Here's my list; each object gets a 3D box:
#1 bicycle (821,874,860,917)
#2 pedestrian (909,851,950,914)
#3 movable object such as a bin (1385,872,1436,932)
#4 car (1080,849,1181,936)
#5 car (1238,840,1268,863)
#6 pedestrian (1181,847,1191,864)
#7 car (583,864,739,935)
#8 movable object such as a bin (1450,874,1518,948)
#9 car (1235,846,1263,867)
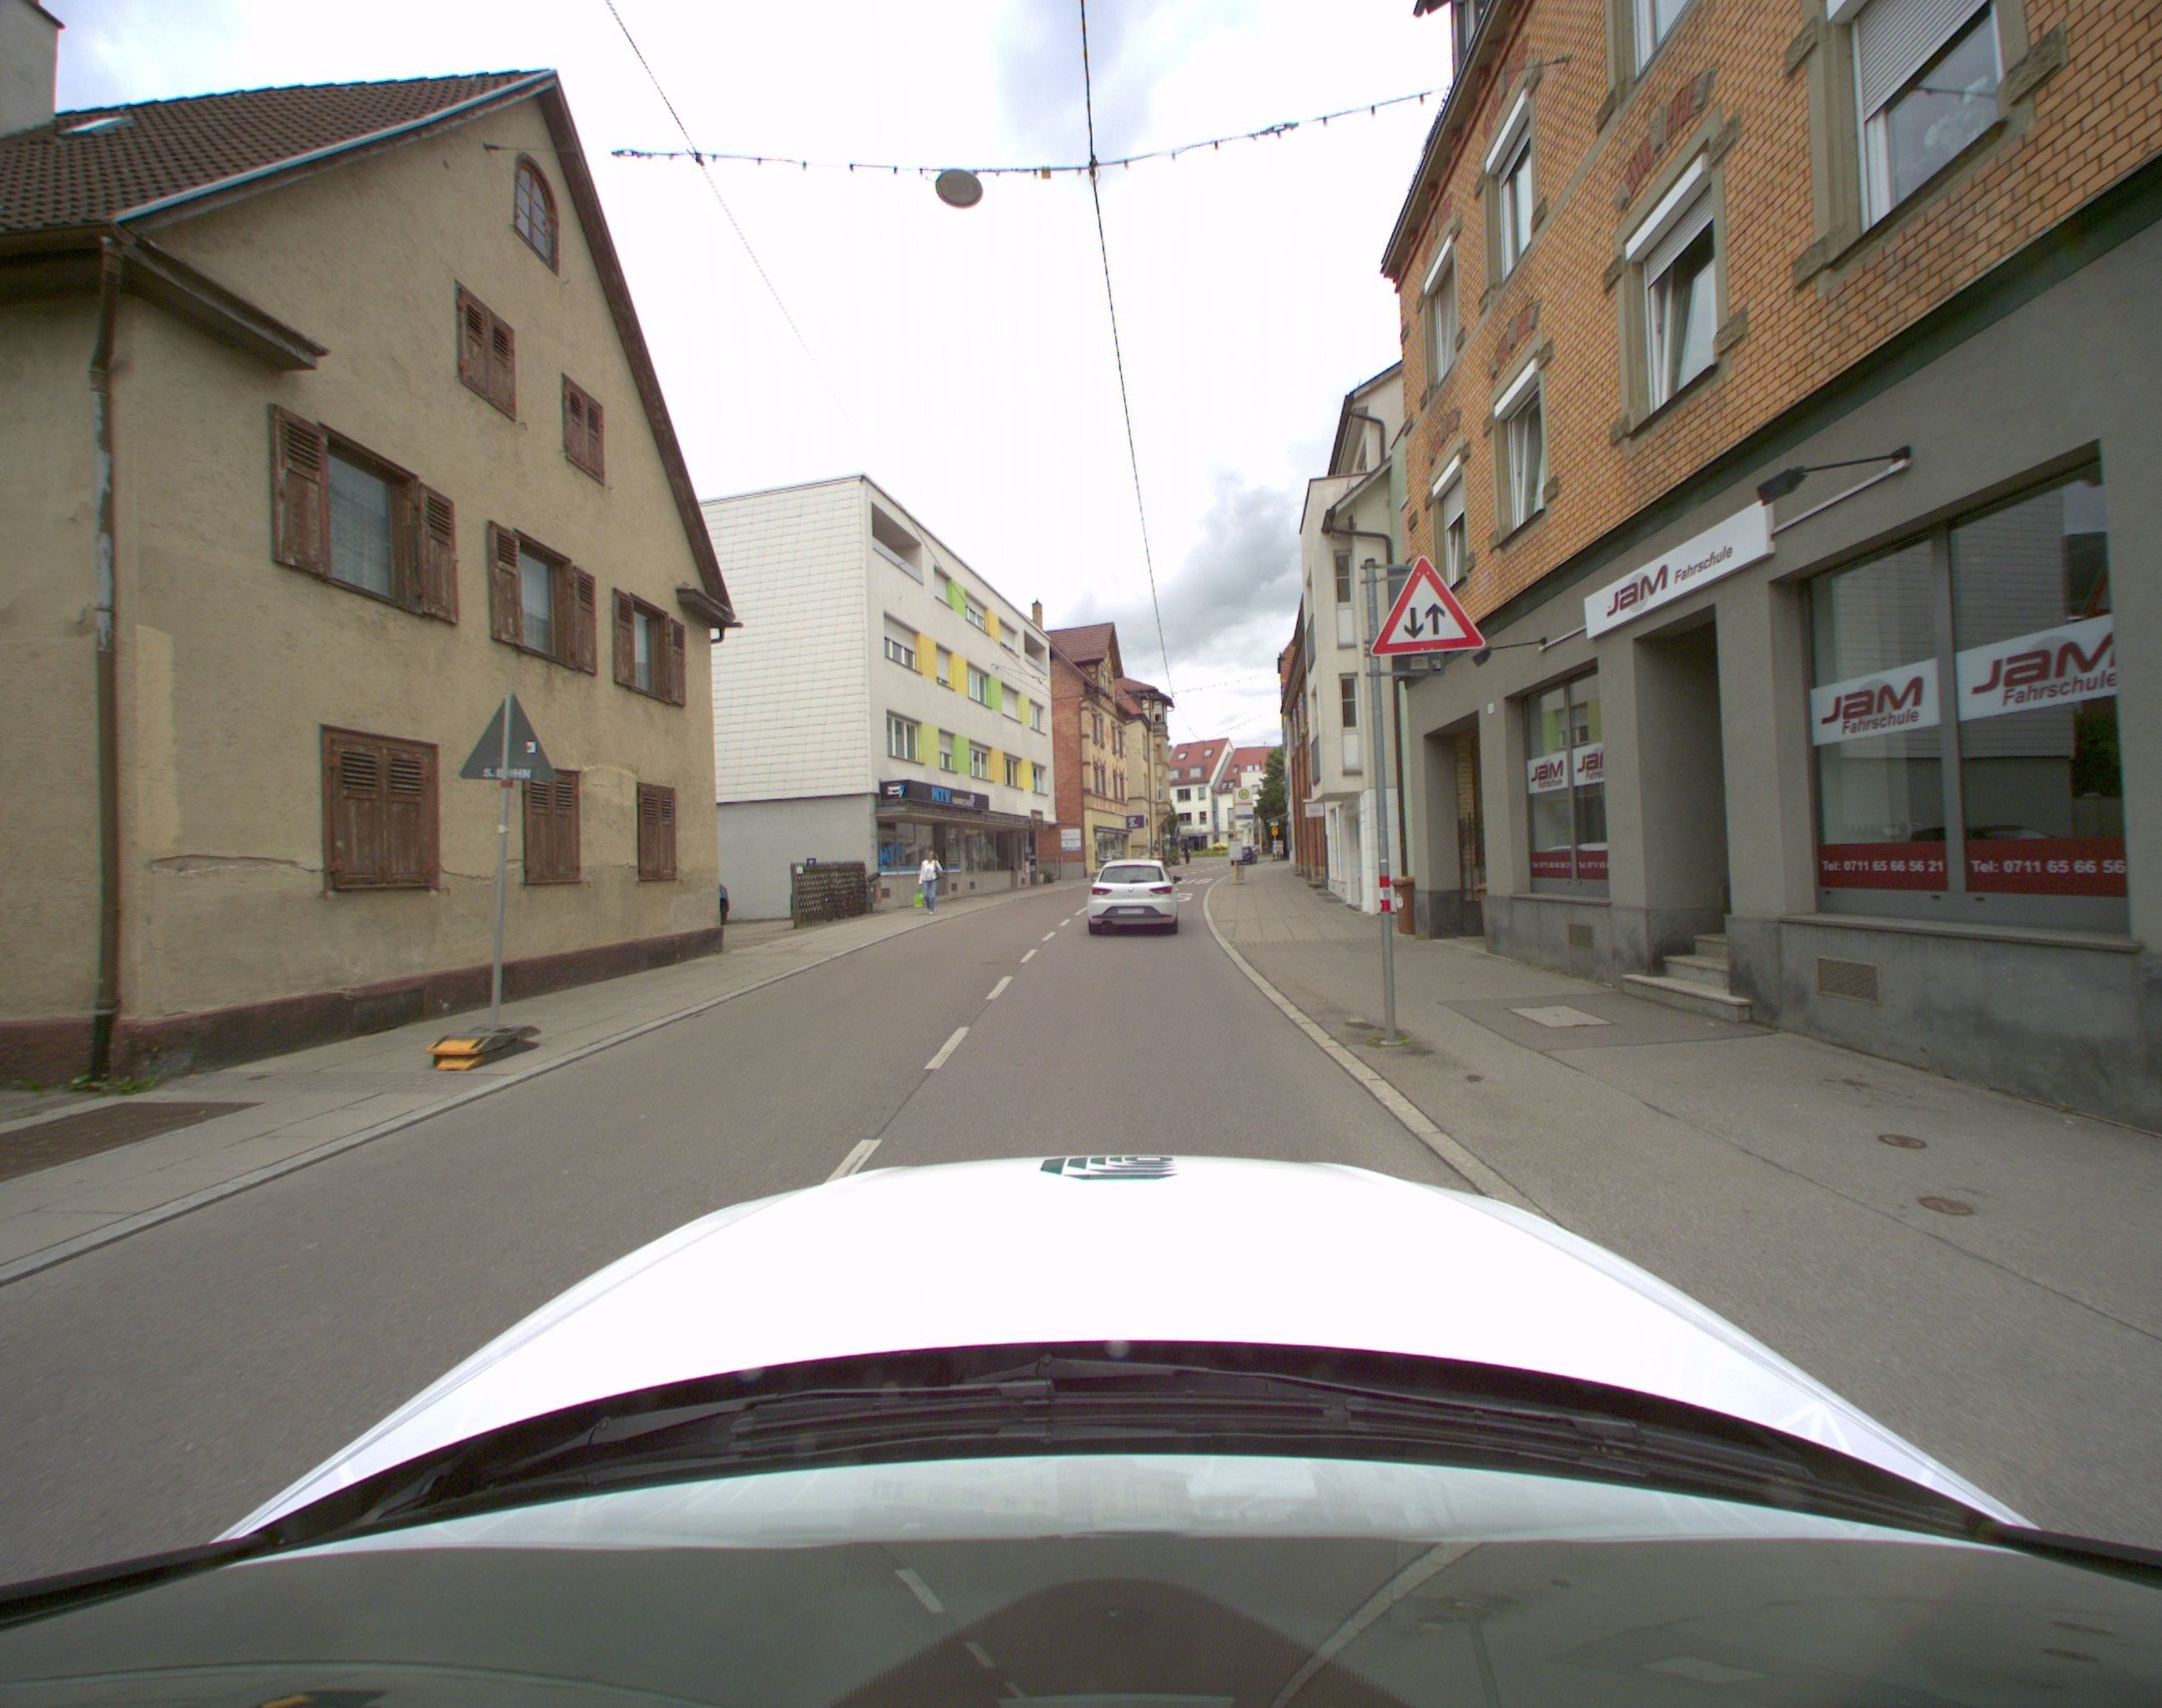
[{"bbox_3d":[-6.601,1.125,22.437,0.321,1.053,1.752,-2,0,7],"label":"bicycle"},{"bbox_3d":[-4.149,0.770,22.385,0.889,1.665,0.861,-2,0,0],"label":"pedestrian"},{"bbox_3d":[5.410,0.778,13.398,0.616,0.921,0.582,-2,0,7],"label":"movable object such as a bin"},{"bbox_3d":[1.145,0.711,16.971,1.802,1.480,3.879,-2,1,7],"label":"car"},{"bbox_3d":[16.252,-0.282,76.846,1.976,2.013,4.021,-2,0,22],"label":"car"},{"bbox_3d":[9.674,0.112,75.075,0.829,1.552,0.629,-2,0,8],"label":"pedestrian"},{"bbox_3d":[-11.046,1.128,21.824,1.988,1.563,4.285,-2,0,-2],"label":"car"},{"bbox_3d":[5.511,0.767,11.175,0.577,0.933,0.741,-2,0,5],"label":"movable object such as a bin"},{"bbox_3d":[13.306,0.159,64.427,1.798,1.480,3.887,-2,1,16],"label":"car"}]
